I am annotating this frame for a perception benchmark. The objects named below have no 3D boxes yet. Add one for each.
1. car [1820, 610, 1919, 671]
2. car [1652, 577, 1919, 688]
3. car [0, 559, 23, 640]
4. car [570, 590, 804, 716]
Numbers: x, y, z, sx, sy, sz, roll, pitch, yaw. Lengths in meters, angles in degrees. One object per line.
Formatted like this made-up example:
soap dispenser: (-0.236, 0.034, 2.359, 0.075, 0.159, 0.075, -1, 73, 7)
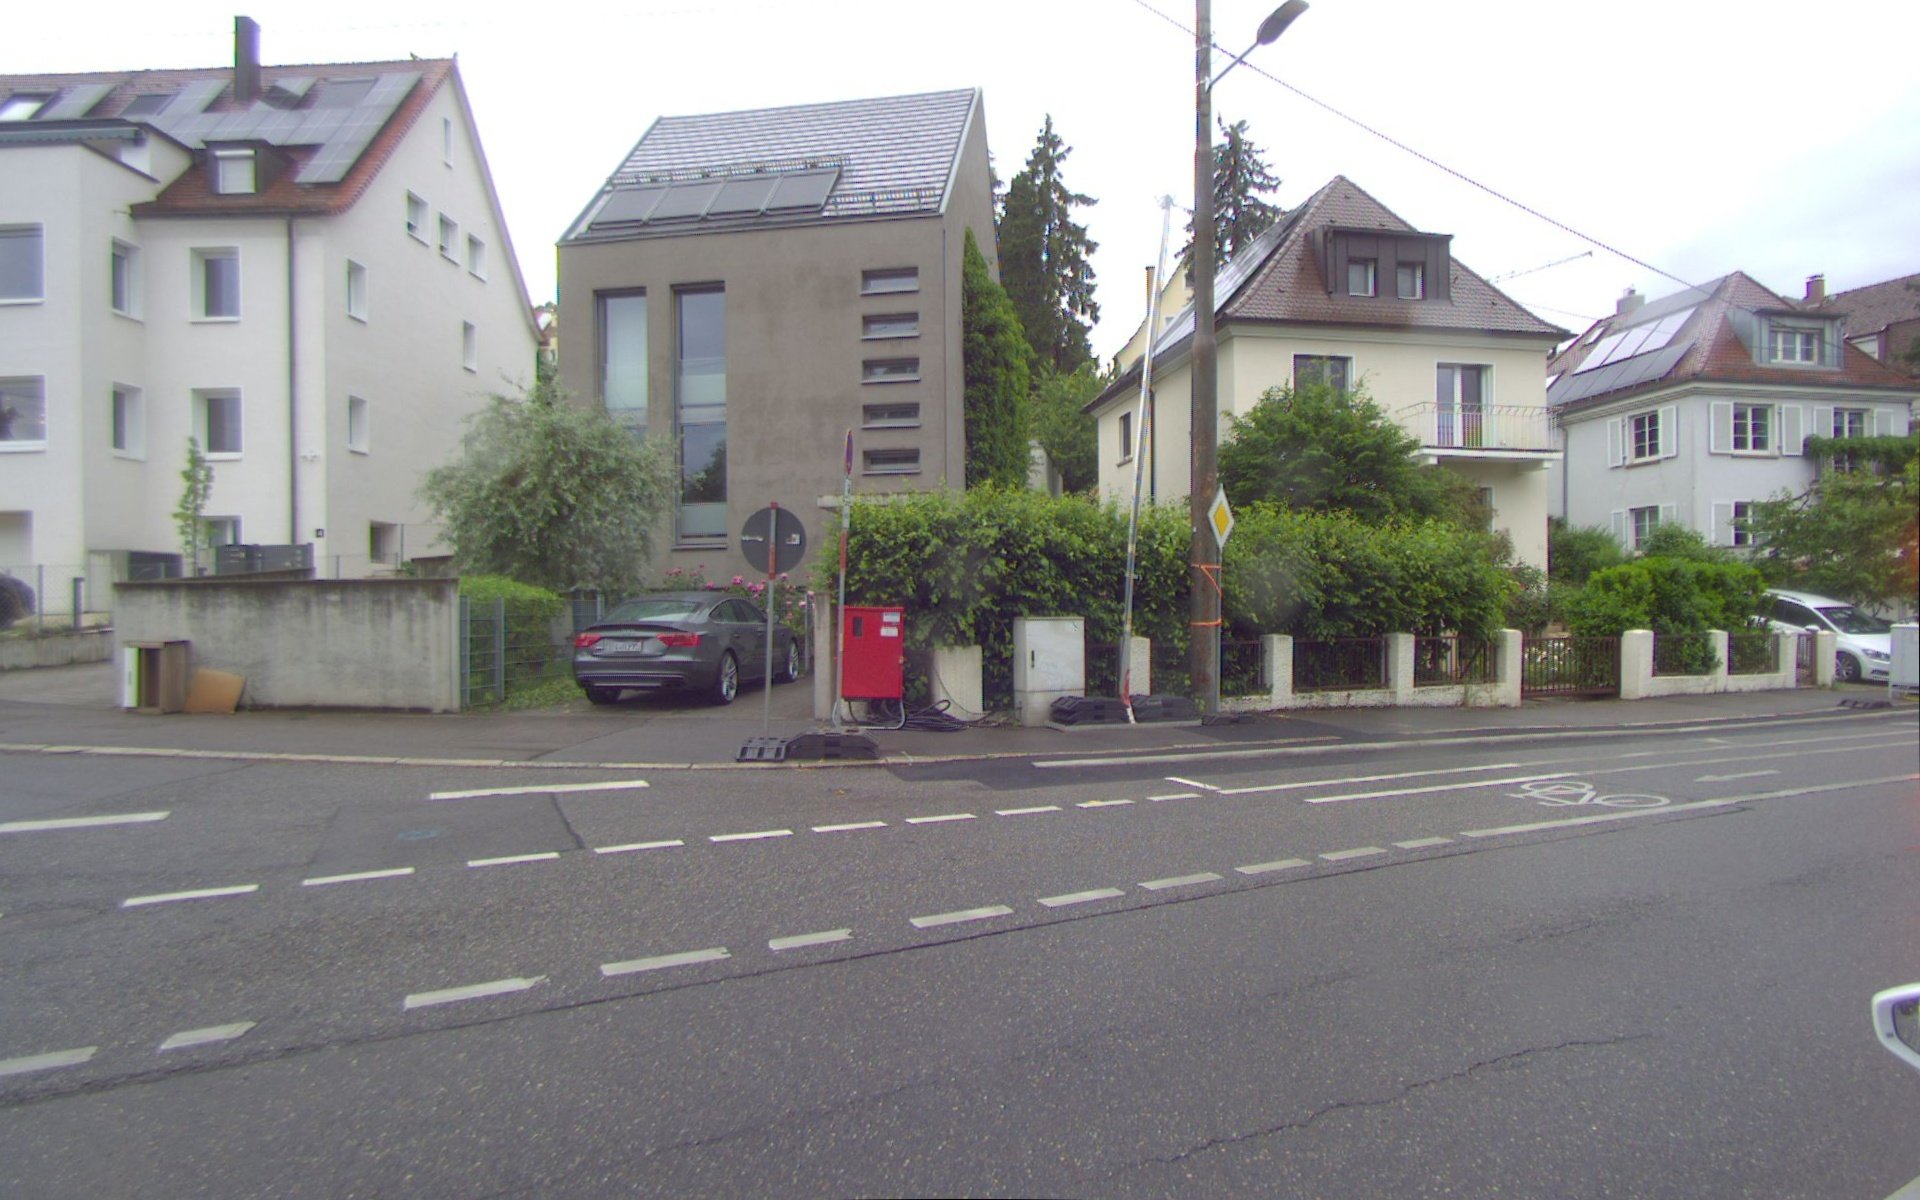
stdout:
car: (26.006, 1.106, 27.002, 1.909, 1.546, 3.986, 2, 0, -16)
car: (19.560, 0.632, 23.916, 1.833, 1.639, 4.960, 0, 10, -15)
car: (-16.826, 0.060, 15.158, 1.536, 1.350, 3.923, 1, 3, 3)
car: (-3.496, 0.587, 13.735, 1.581, 1.387, 4.265, 0, 1, 7)
